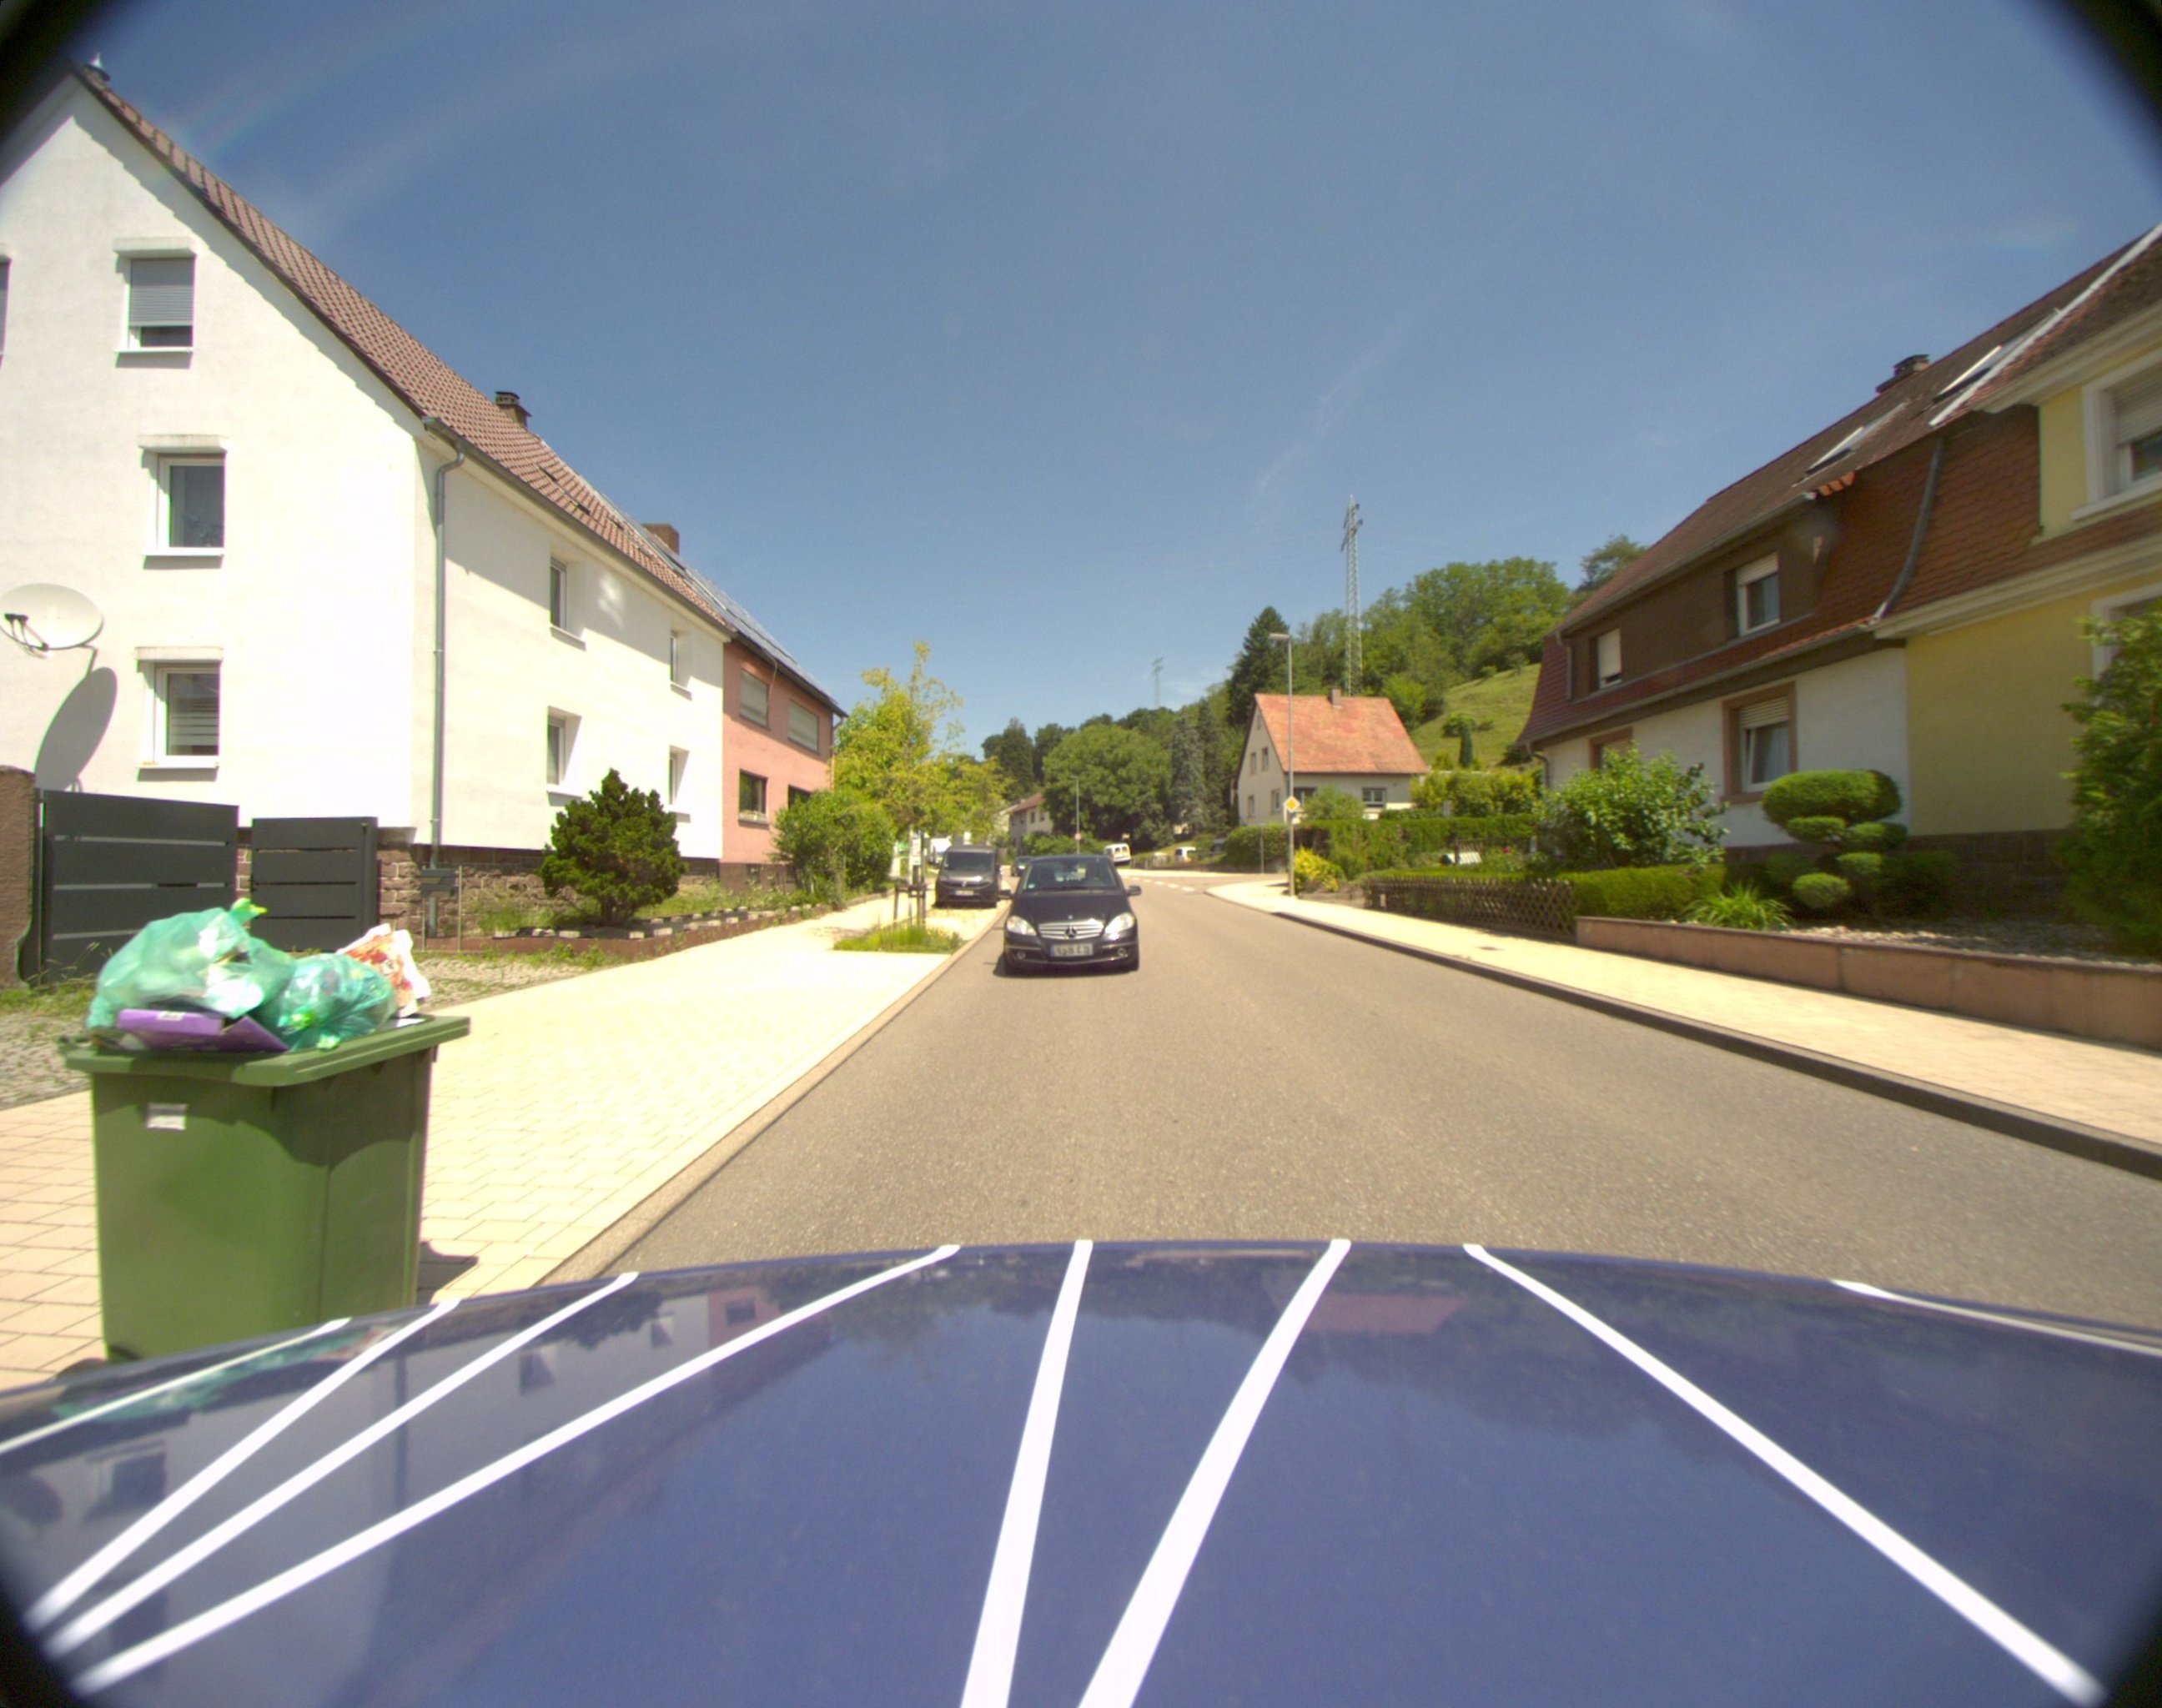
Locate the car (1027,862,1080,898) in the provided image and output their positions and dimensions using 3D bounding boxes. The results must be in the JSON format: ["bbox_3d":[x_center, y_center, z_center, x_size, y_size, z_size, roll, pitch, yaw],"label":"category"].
[{"bbox_3d":[-1.131,0.980,29.668,1.668,1.253,3.549,-1,0,-9],"label":"car"}]

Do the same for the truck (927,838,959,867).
[{"bbox_3d":[-16.960,-0.138,92.760,2.810,3.394,8.107,-1,0,-18],"label":"truck"}]

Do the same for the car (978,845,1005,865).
[{"bbox_3d":[-8.373,0.080,70.949,1.970,1.823,4.459,0,0,-14],"label":"car"}]

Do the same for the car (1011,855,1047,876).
[{"bbox_3d":[-3.614,0.772,52.529,1.912,1.342,3.995,-1,0,-12],"label":"car"}]

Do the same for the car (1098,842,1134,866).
[{"bbox_3d":[2.911,-0.005,64.695,1.706,1.937,3.993,-2,1,-18],"label":"car"}]

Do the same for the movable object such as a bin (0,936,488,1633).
[{"bbox_3d":[-2.409,0.986,2.091,0.794,1.387,0.925,3,1,-2],"label":"movable object such as a bin"}]

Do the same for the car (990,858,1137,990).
[{"bbox_3d":[-0.150,0.880,11.453,1.790,1.595,4.076,-1,0,2],"label":"car"}]

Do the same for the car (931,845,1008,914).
[{"bbox_3d":[-3.274,0.689,23.078,1.860,1.832,4.669,1,0,-3],"label":"car"}]

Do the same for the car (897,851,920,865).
[{"bbox_3d":[-19.638,0.497,86.398,1.654,1.521,3.856,-1,0,-25],"label":"car"}]

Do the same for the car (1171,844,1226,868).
[{"bbox_3d":[9.601,0.165,62.029,4.004,1.779,1.807,-1,1,-22],"label":"car"}]
